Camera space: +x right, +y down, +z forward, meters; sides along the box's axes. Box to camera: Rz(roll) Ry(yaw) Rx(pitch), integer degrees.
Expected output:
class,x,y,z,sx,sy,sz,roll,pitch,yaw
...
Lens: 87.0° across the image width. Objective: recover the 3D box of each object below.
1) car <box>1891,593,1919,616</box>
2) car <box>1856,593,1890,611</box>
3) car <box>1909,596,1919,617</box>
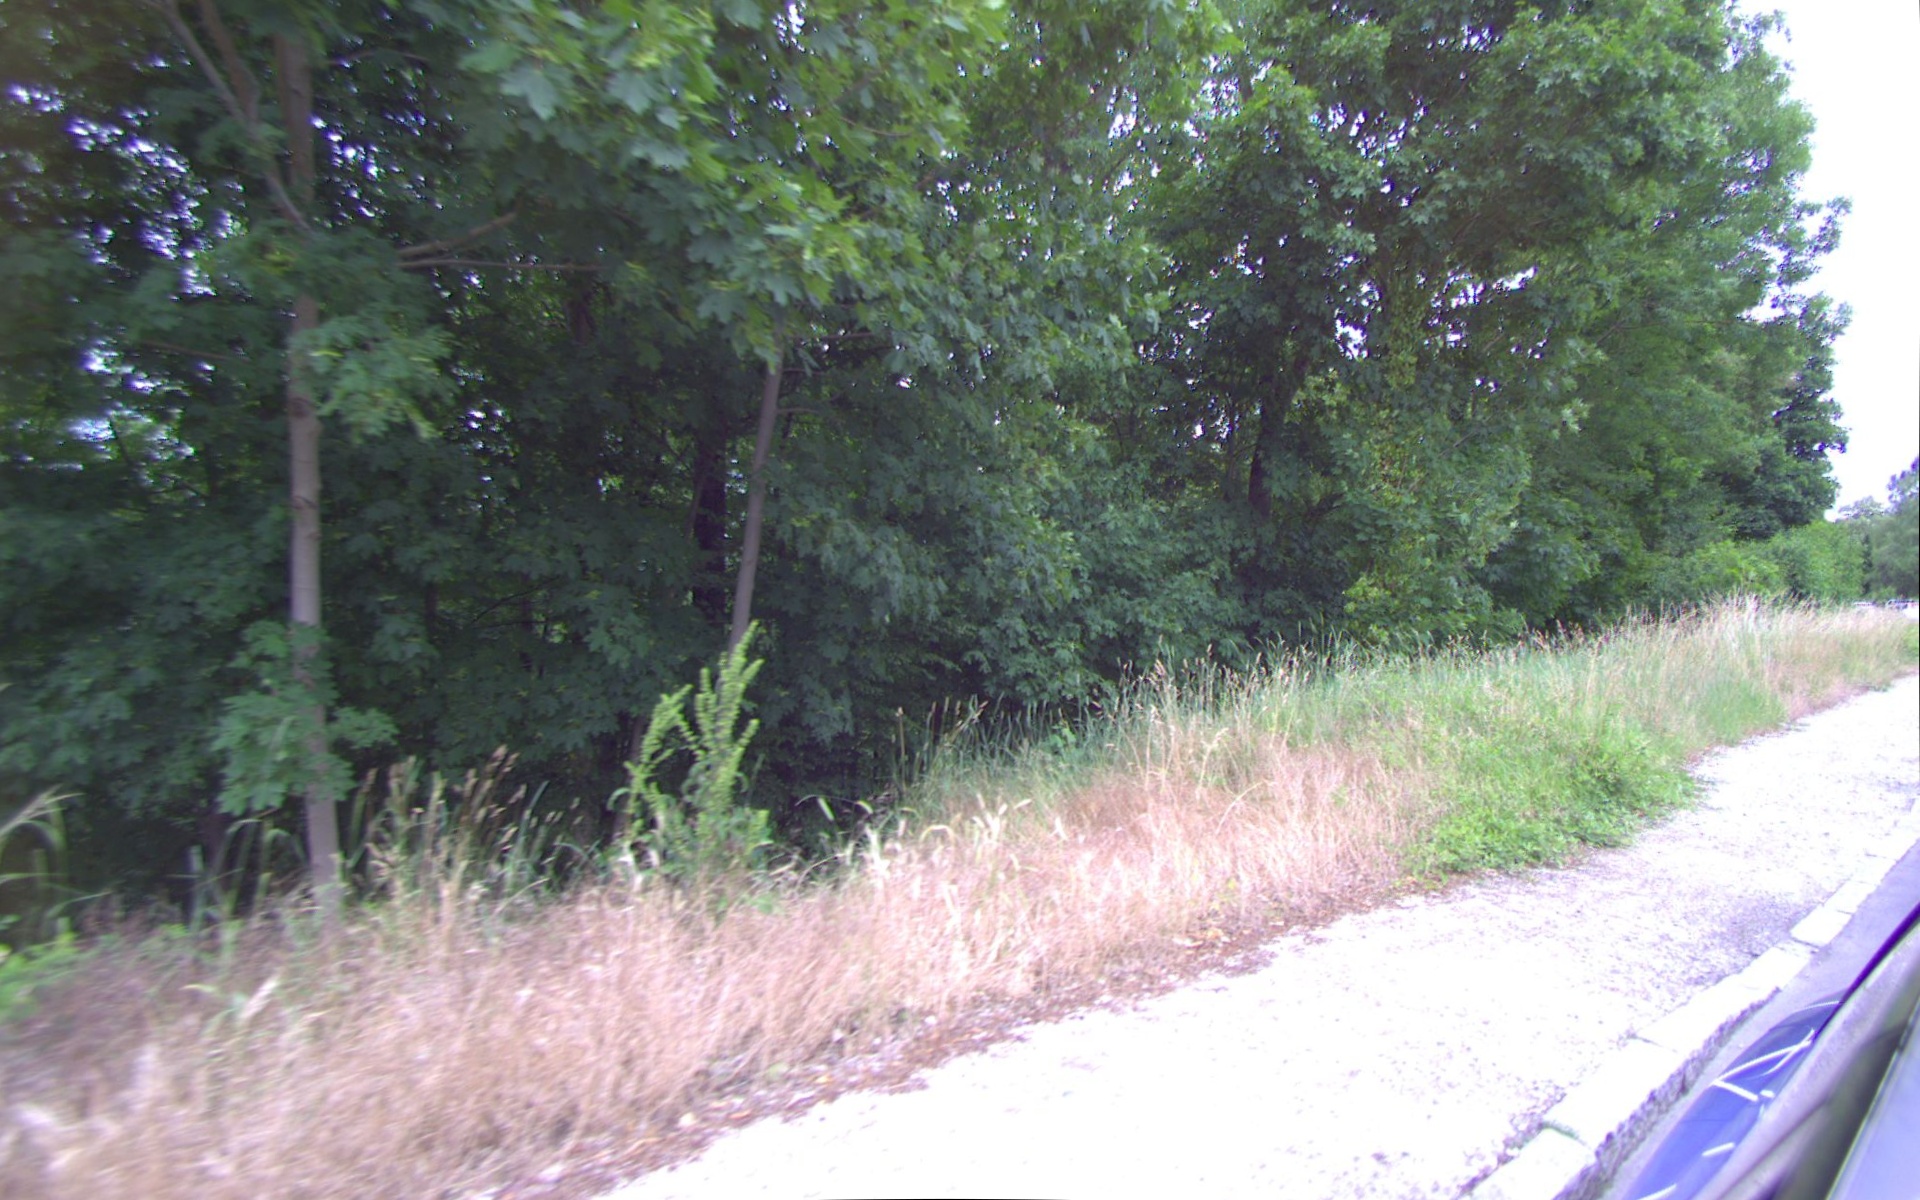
class,x,y,z,sx,sy,sz,roll,pitch,yaw
car,72.396,0.343,76.854,1.785,1.685,4.338,0,0,34
car,80.843,0.190,89.636,1.702,1.530,4.495,1,1,36
car,70.002,0.464,72.906,1.701,1.530,3.898,0,0,34
